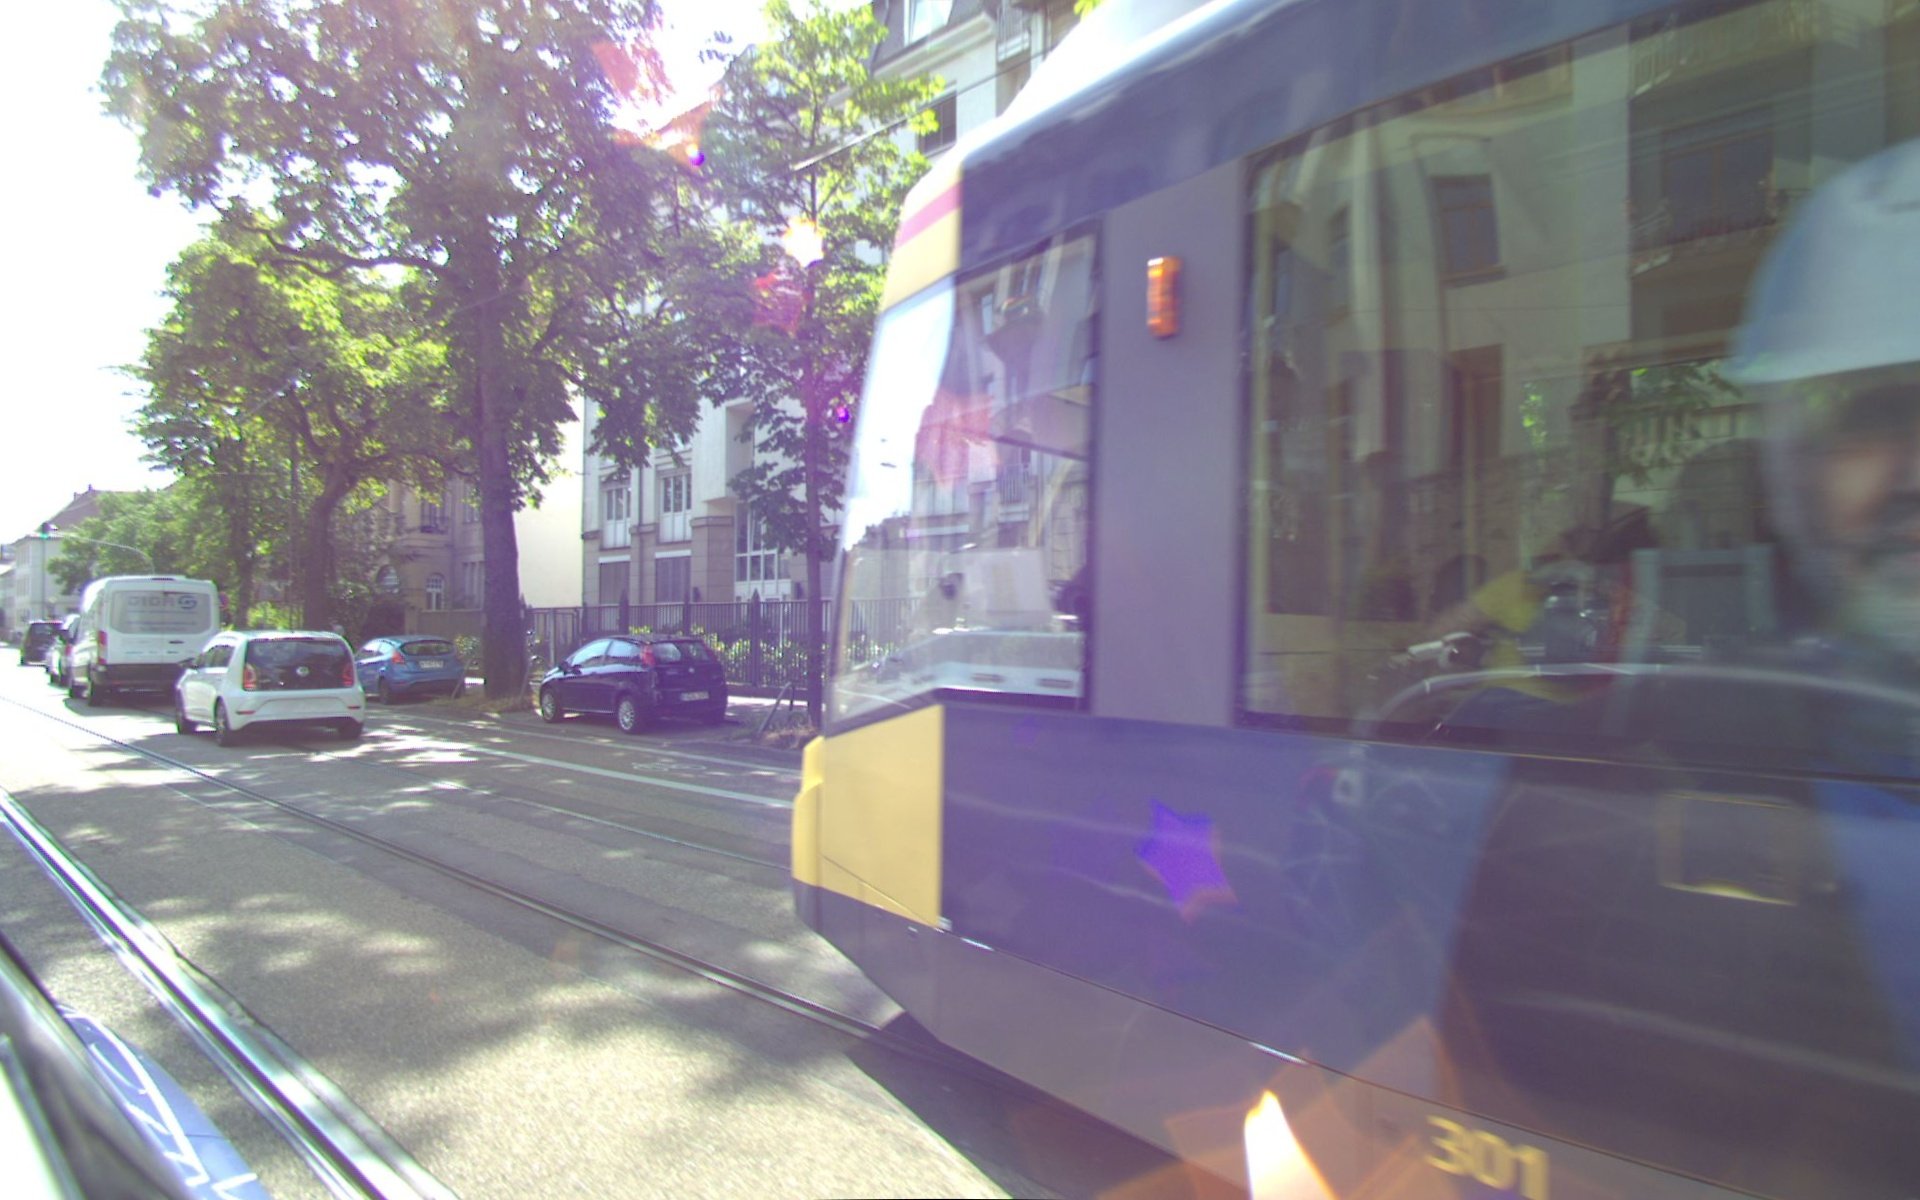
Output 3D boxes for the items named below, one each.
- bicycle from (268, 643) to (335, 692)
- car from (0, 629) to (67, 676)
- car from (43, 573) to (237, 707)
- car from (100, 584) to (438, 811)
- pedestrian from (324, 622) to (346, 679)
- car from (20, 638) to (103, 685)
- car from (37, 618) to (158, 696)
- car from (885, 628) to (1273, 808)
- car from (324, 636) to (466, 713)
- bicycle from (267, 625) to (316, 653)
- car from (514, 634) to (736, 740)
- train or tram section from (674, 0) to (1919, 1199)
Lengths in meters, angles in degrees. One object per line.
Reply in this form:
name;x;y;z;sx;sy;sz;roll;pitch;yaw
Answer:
bicycle;-19.230;1.945;29.599;0.612;1.319;2.057;-1;0;0
car;-41.418;2.295;45.004;5.123;1.932;1.906;-2;-5;43
car;-17.951;0.896;22.001;6.361;2.527;2.291;-3;-3;42
car;-9.920;1.191;14.250;6.358;2.527;2.292;-2;-3;40
pedestrian;-22.720;1.822;36.807;0.477;2.029;0.808;-1;0;-16
car;-33.403;2.251;37.570;4.480;1.491;1.675;0;-3;41
car;-24.310;1.594;28.440;5.179;1.978;1.964;-3;-4;43
car;1.140;1.082;10.700;3.806;1.496;1.637;-1;0;41
car;-12.994;1.638;23.193;4.083;1.530;1.533;-1;0;41
bicycle;-24.923;1.464;37.720;1.859;0.940;0.988;-3;0;40
car;-5.619;1.364;16.702;4.203;1.483;1.609;-3;-1;42
train or tram section;4.575;-0.301;0.174;12.311;3.463;2.624;-1;-4;42
